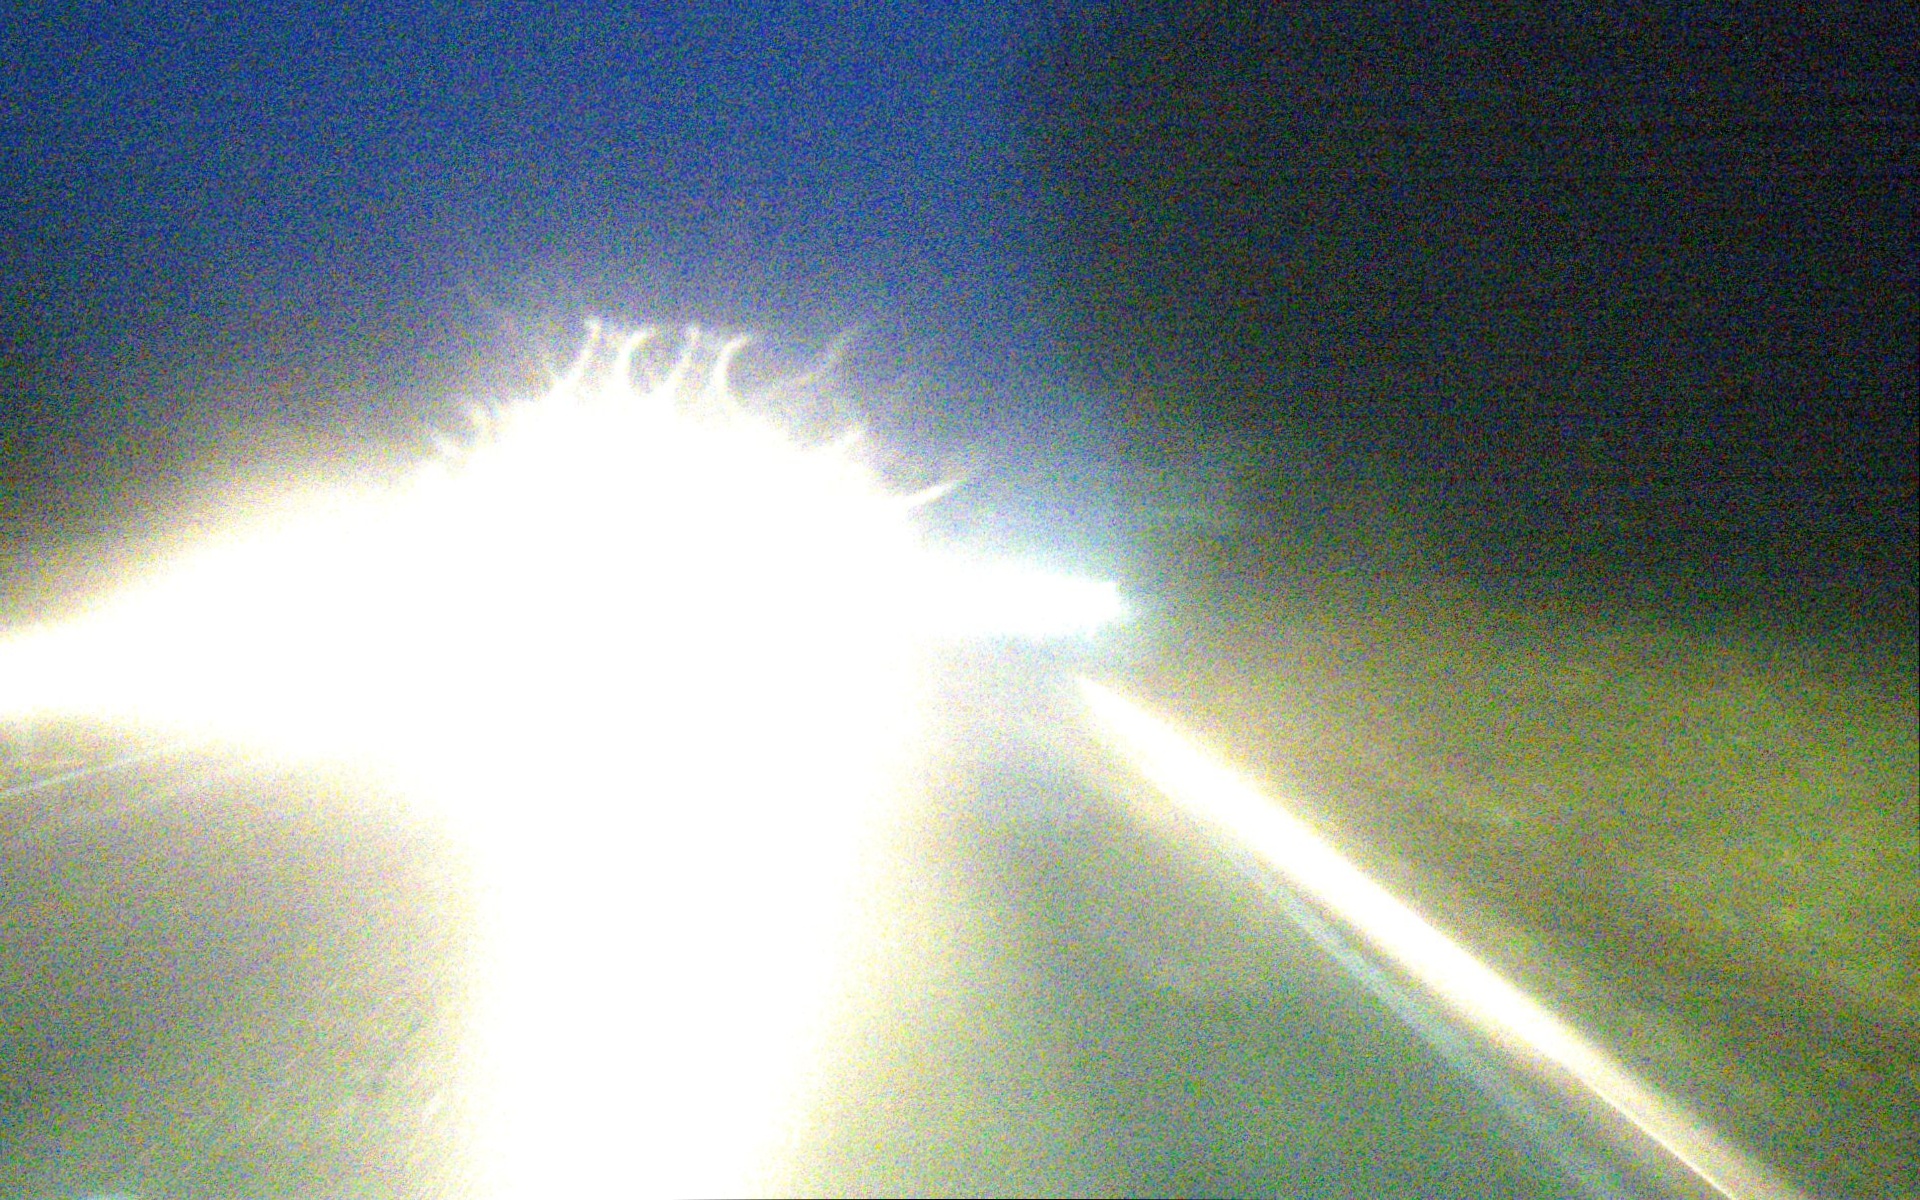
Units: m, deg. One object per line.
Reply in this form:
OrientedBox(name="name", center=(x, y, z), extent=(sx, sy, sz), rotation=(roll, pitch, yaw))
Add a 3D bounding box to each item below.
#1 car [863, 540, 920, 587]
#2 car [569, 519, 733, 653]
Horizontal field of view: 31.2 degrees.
OrientedBox(name="car", center=(-2.450, -1.329, 124.288), extent=(1.993, 1.660, 4.000), rotation=(1, 1, -1))
OrientedBox(name="car", center=(-4.411, -0.229, 49.628), extent=(1.993, 1.818, 4.563), rotation=(1, 1, -1))
